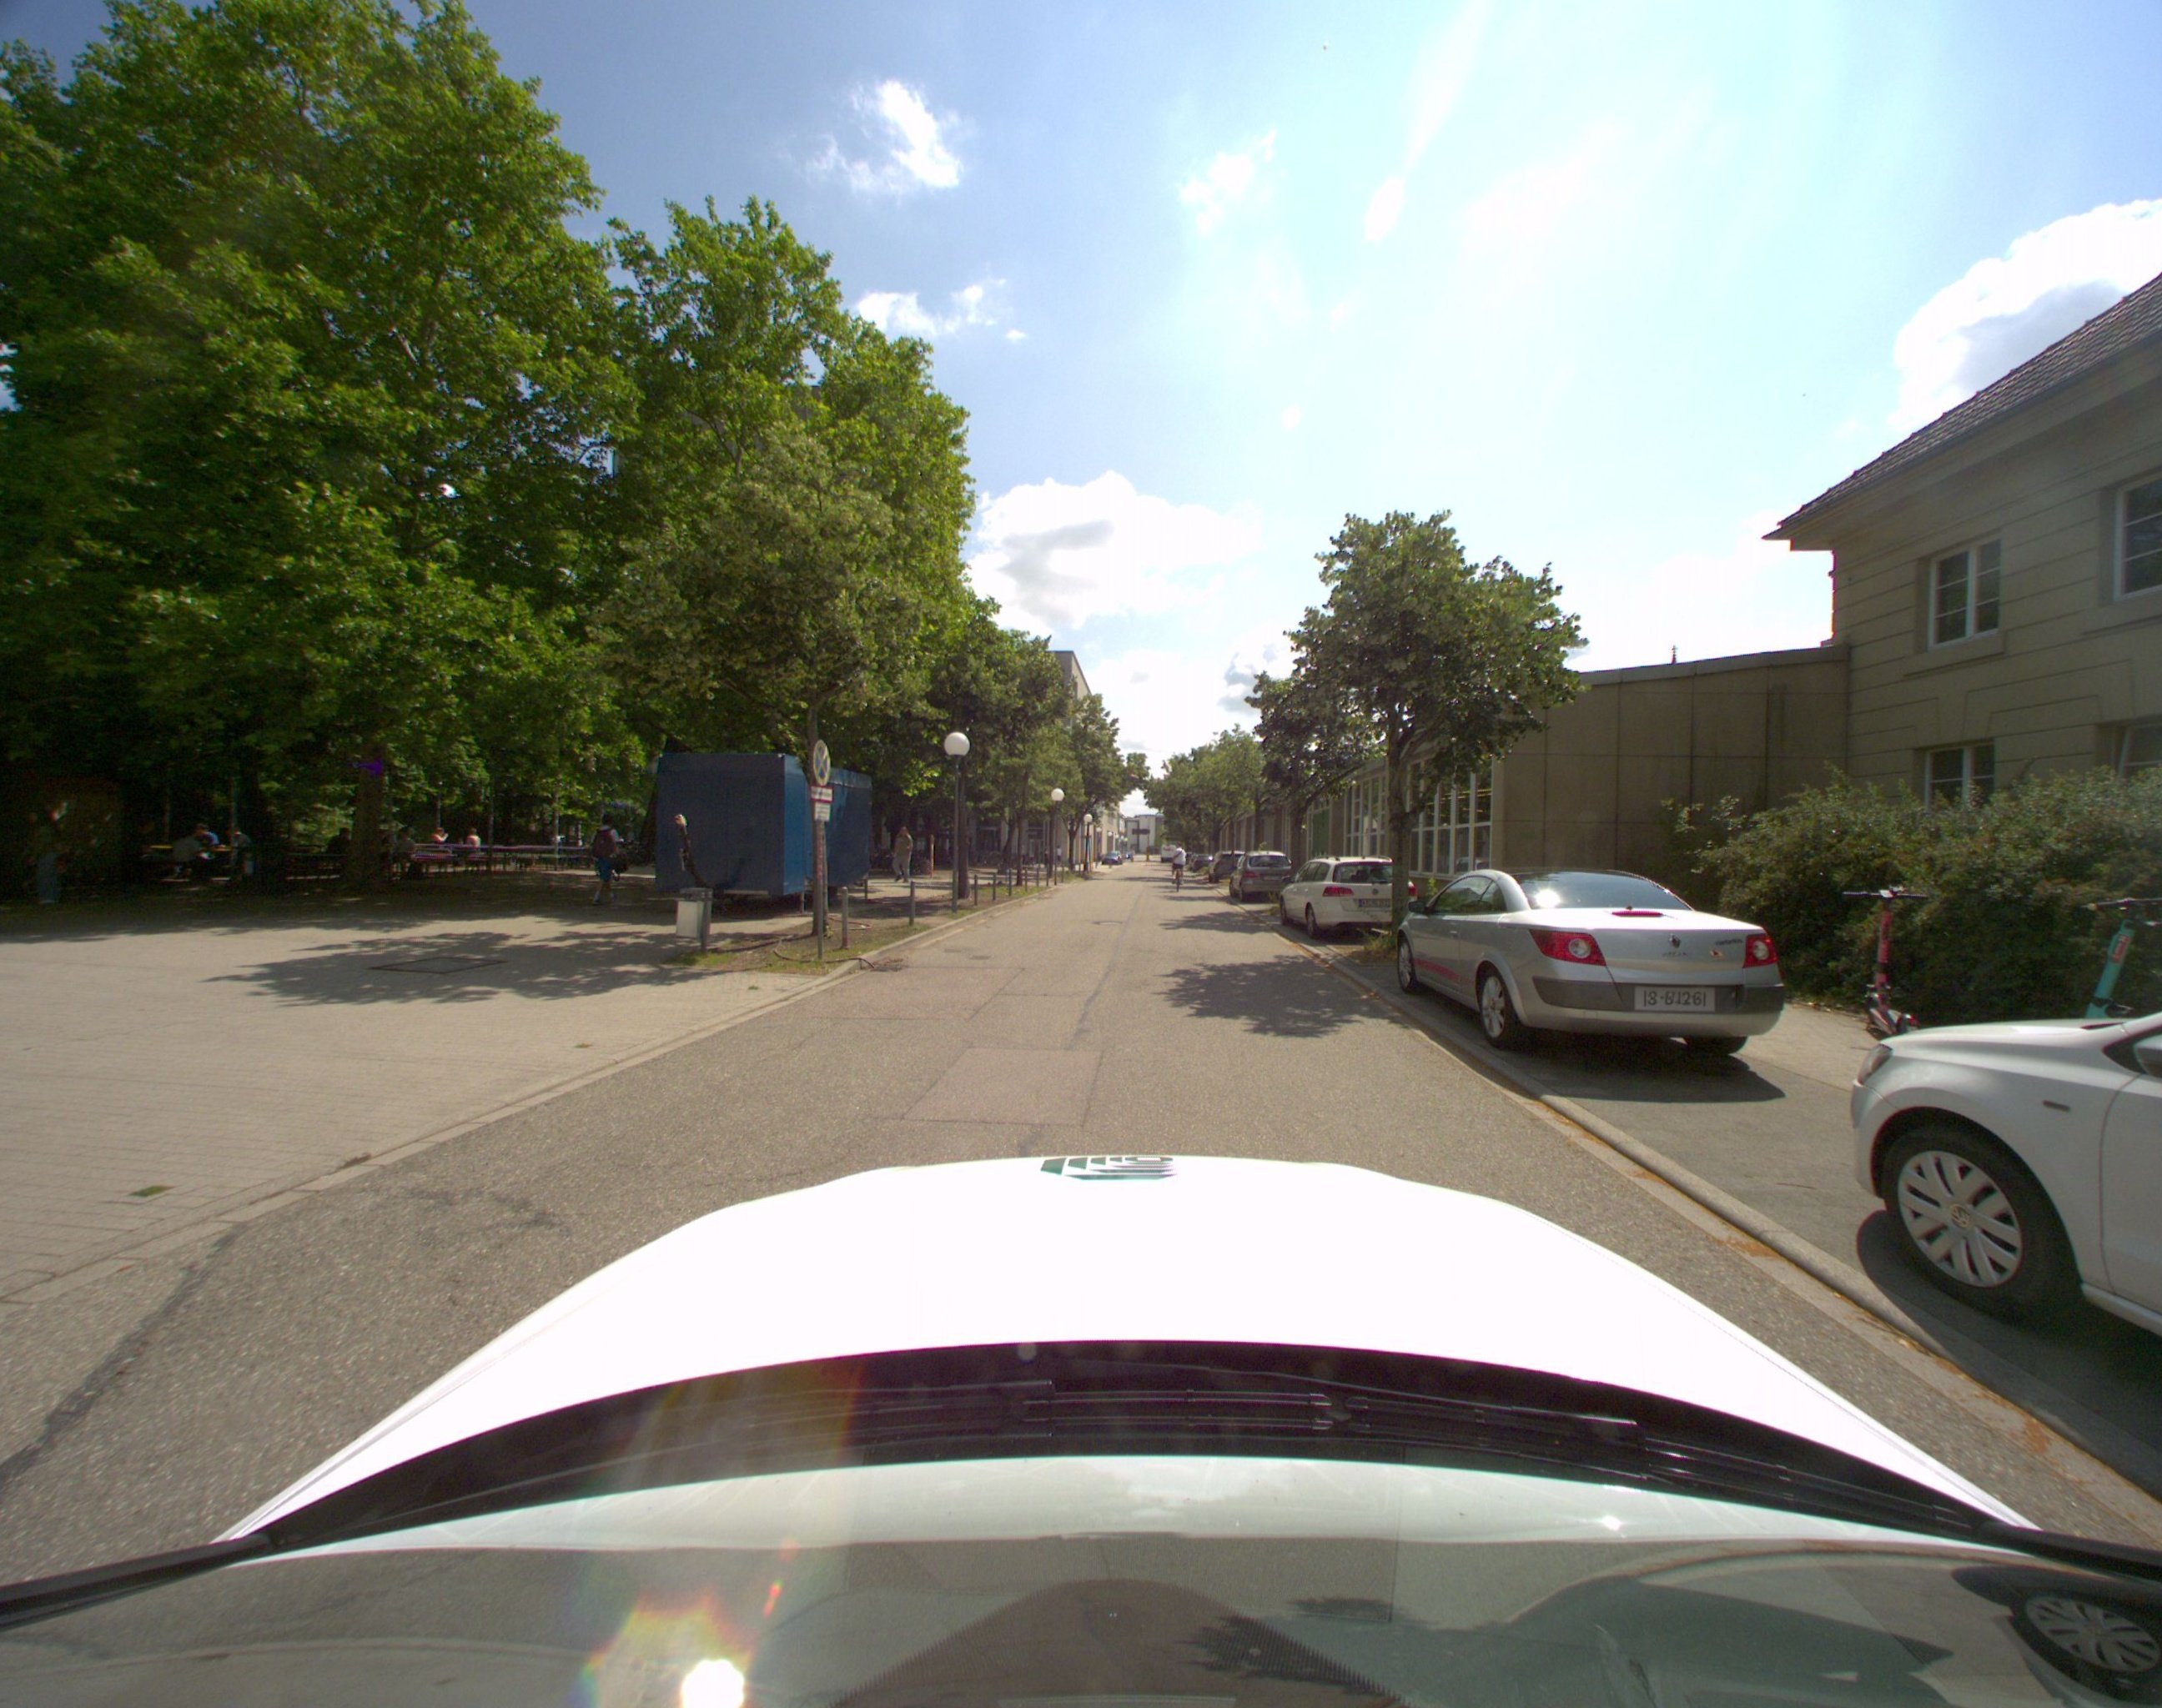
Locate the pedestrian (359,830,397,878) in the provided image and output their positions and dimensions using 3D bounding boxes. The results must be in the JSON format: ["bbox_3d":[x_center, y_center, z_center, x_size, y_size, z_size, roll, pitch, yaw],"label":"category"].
[{"bbox_3d":[-18.914,-0.013,21.918,0.597,1.233,0.736,2,2,-29],"label":"pedestrian"}]

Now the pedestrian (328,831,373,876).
[{"bbox_3d":[-20.851,-0.020,23.265,0.568,1.250,0.765,2,0,-6],"label":"pedestrian"}]

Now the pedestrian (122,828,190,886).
[{"bbox_3d":[-21.841,0.066,19.236,0.684,1.323,0.780,1,0,7],"label":"pedestrian"}]

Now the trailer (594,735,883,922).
[{"bbox_3d":[-6.494,-0.439,16.737,2.683,3.026,6.276,2,0,5],"label":"trailer"}]

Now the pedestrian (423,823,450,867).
[{"bbox_3d":[-22.507,-0.308,28.452,0.504,1.522,0.473,2,0,-6],"label":"pedestrian"}]

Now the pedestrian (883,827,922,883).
[{"bbox_3d":[-6.425,0.033,29.351,0.911,1.954,0.895,4,0,15],"label":"pedestrian"}]

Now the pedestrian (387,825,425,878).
[{"bbox_3d":[-17.762,-0.071,21.444,0.597,1.369,0.736,2,2,-29],"label":"pedestrian"}]

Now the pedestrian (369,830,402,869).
[{"bbox_3d":[-21.869,-0.154,25.612,0.390,1.194,0.729,2,0,-4],"label":"pedestrian"}]

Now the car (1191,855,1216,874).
[{"bbox_3d":[9.934,0.851,66.156,1.772,1.476,4.468,0,0,5],"label":"car"}]

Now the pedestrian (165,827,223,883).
[{"bbox_3d":[-20.851,0.024,19.156,0.557,1.271,0.694,2,0,6],"label":"pedestrian"}]

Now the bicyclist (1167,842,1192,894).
[{"bbox_3d":[3.864,0.542,32.084,0.869,2.013,0.851,2,0,4],"label":"bicyclist"}]

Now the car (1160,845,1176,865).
[{"bbox_3d":[12.086,0.135,113.417,2.074,2.539,4.322,2,0,5],"label":"car"}]

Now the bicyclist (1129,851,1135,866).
[{"bbox_3d":[6.957,0.585,111.240,0.708,2.013,1.020,0,0,3],"label":"bicyclist"}]

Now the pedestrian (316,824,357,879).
[{"bbox_3d":[-19.131,-0.071,20.937,0.597,1.369,0.698,2,2,-29],"label":"pedestrian"}]

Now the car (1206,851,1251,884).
[{"bbox_3d":[7.627,0.705,42.491,1.814,1.664,4.588,0,-1,4],"label":"car"}]

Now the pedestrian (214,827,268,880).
[{"bbox_3d":[-20.743,-0.011,20.125,0.557,1.271,0.694,2,0,6],"label":"pedestrian"}]

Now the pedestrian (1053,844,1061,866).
[{"bbox_3d":[-2.077,0.094,71.610,0.414,1.941,0.658,3,0,-24],"label":"pedestrian"}]

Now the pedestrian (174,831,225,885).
[{"bbox_3d":[-21.913,0.098,20.248,0.641,1.323,0.560,1,0,7],"label":"pedestrian"}]

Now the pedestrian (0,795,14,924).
[{"bbox_3d":[-14.799,0.060,10.664,0.483,1.720,0.886,0,-3,33],"label":"pedestrian"}]

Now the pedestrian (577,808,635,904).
[{"bbox_3d":[-9.450,0.025,16.235,0.855,1.835,0.871,2,2,-25],"label":"pedestrian"}]

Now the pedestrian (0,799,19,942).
[{"bbox_3d":[-14.179,0.195,10.249,0.443,1.820,0.886,0,-3,33],"label":"pedestrian"}]

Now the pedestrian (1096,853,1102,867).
[{"bbox_3d":[2.131,0.714,96.307,0.648,1.701,0.888,2,0,-5],"label":"pedestrian"}]

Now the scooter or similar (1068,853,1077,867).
[{"bbox_3d":[-0.763,0.554,74.078,0.452,1.223,1.553,2,0,9],"label":"scooter or similar"}]

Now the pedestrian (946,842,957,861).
[{"bbox_3d":[-11.435,-0.240,71.867,0.698,1.661,0.627,2,0,-43],"label":"pedestrian"}]

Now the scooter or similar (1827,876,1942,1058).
[{"bbox_3d":[6.500,0.846,6.633,0.589,1.266,1.273,2,2,42],"label":"scooter or similar"}]

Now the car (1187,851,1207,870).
[{"bbox_3d":[10.199,0.570,71.757,1.608,1.538,3.786,2,0,6],"label":"car"}]

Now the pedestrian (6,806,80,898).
[{"bbox_3d":[-19.068,-0.041,14.973,0.681,1.651,0.498,3,1,-34],"label":"pedestrian"}]

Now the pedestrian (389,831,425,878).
[{"bbox_3d":[-18.237,0.007,22.037,0.597,1.233,0.736,2,2,-29],"label":"pedestrian"}]

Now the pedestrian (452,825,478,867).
[{"bbox_3d":[-21.583,-0.279,28.530,0.504,1.422,0.459,2,0,-5],"label":"pedestrian"}]

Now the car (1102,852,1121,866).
[{"bbox_3d":[3.405,0.570,90.188,1.757,1.427,4.243,2,0,7],"label":"car"}]

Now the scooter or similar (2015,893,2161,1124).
[{"bbox_3d":[6.278,0.874,4.736,0.516,1.221,1.241,1,0,16],"label":"scooter or similar"}]

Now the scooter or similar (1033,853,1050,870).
[{"bbox_3d":[-2.828,0.505,58.110,0.336,1.175,1.336,2,0,40],"label":"scooter or similar"}]

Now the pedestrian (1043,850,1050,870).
[{"bbox_3d":[-3.082,0.548,72.506,0.443,1.775,0.447,2,0,-25],"label":"pedestrian"}]

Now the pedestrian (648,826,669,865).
[{"bbox_3d":[-18.559,-0.377,35.785,0.632,1.670,0.726,2,0,-19],"label":"pedestrian"}]
